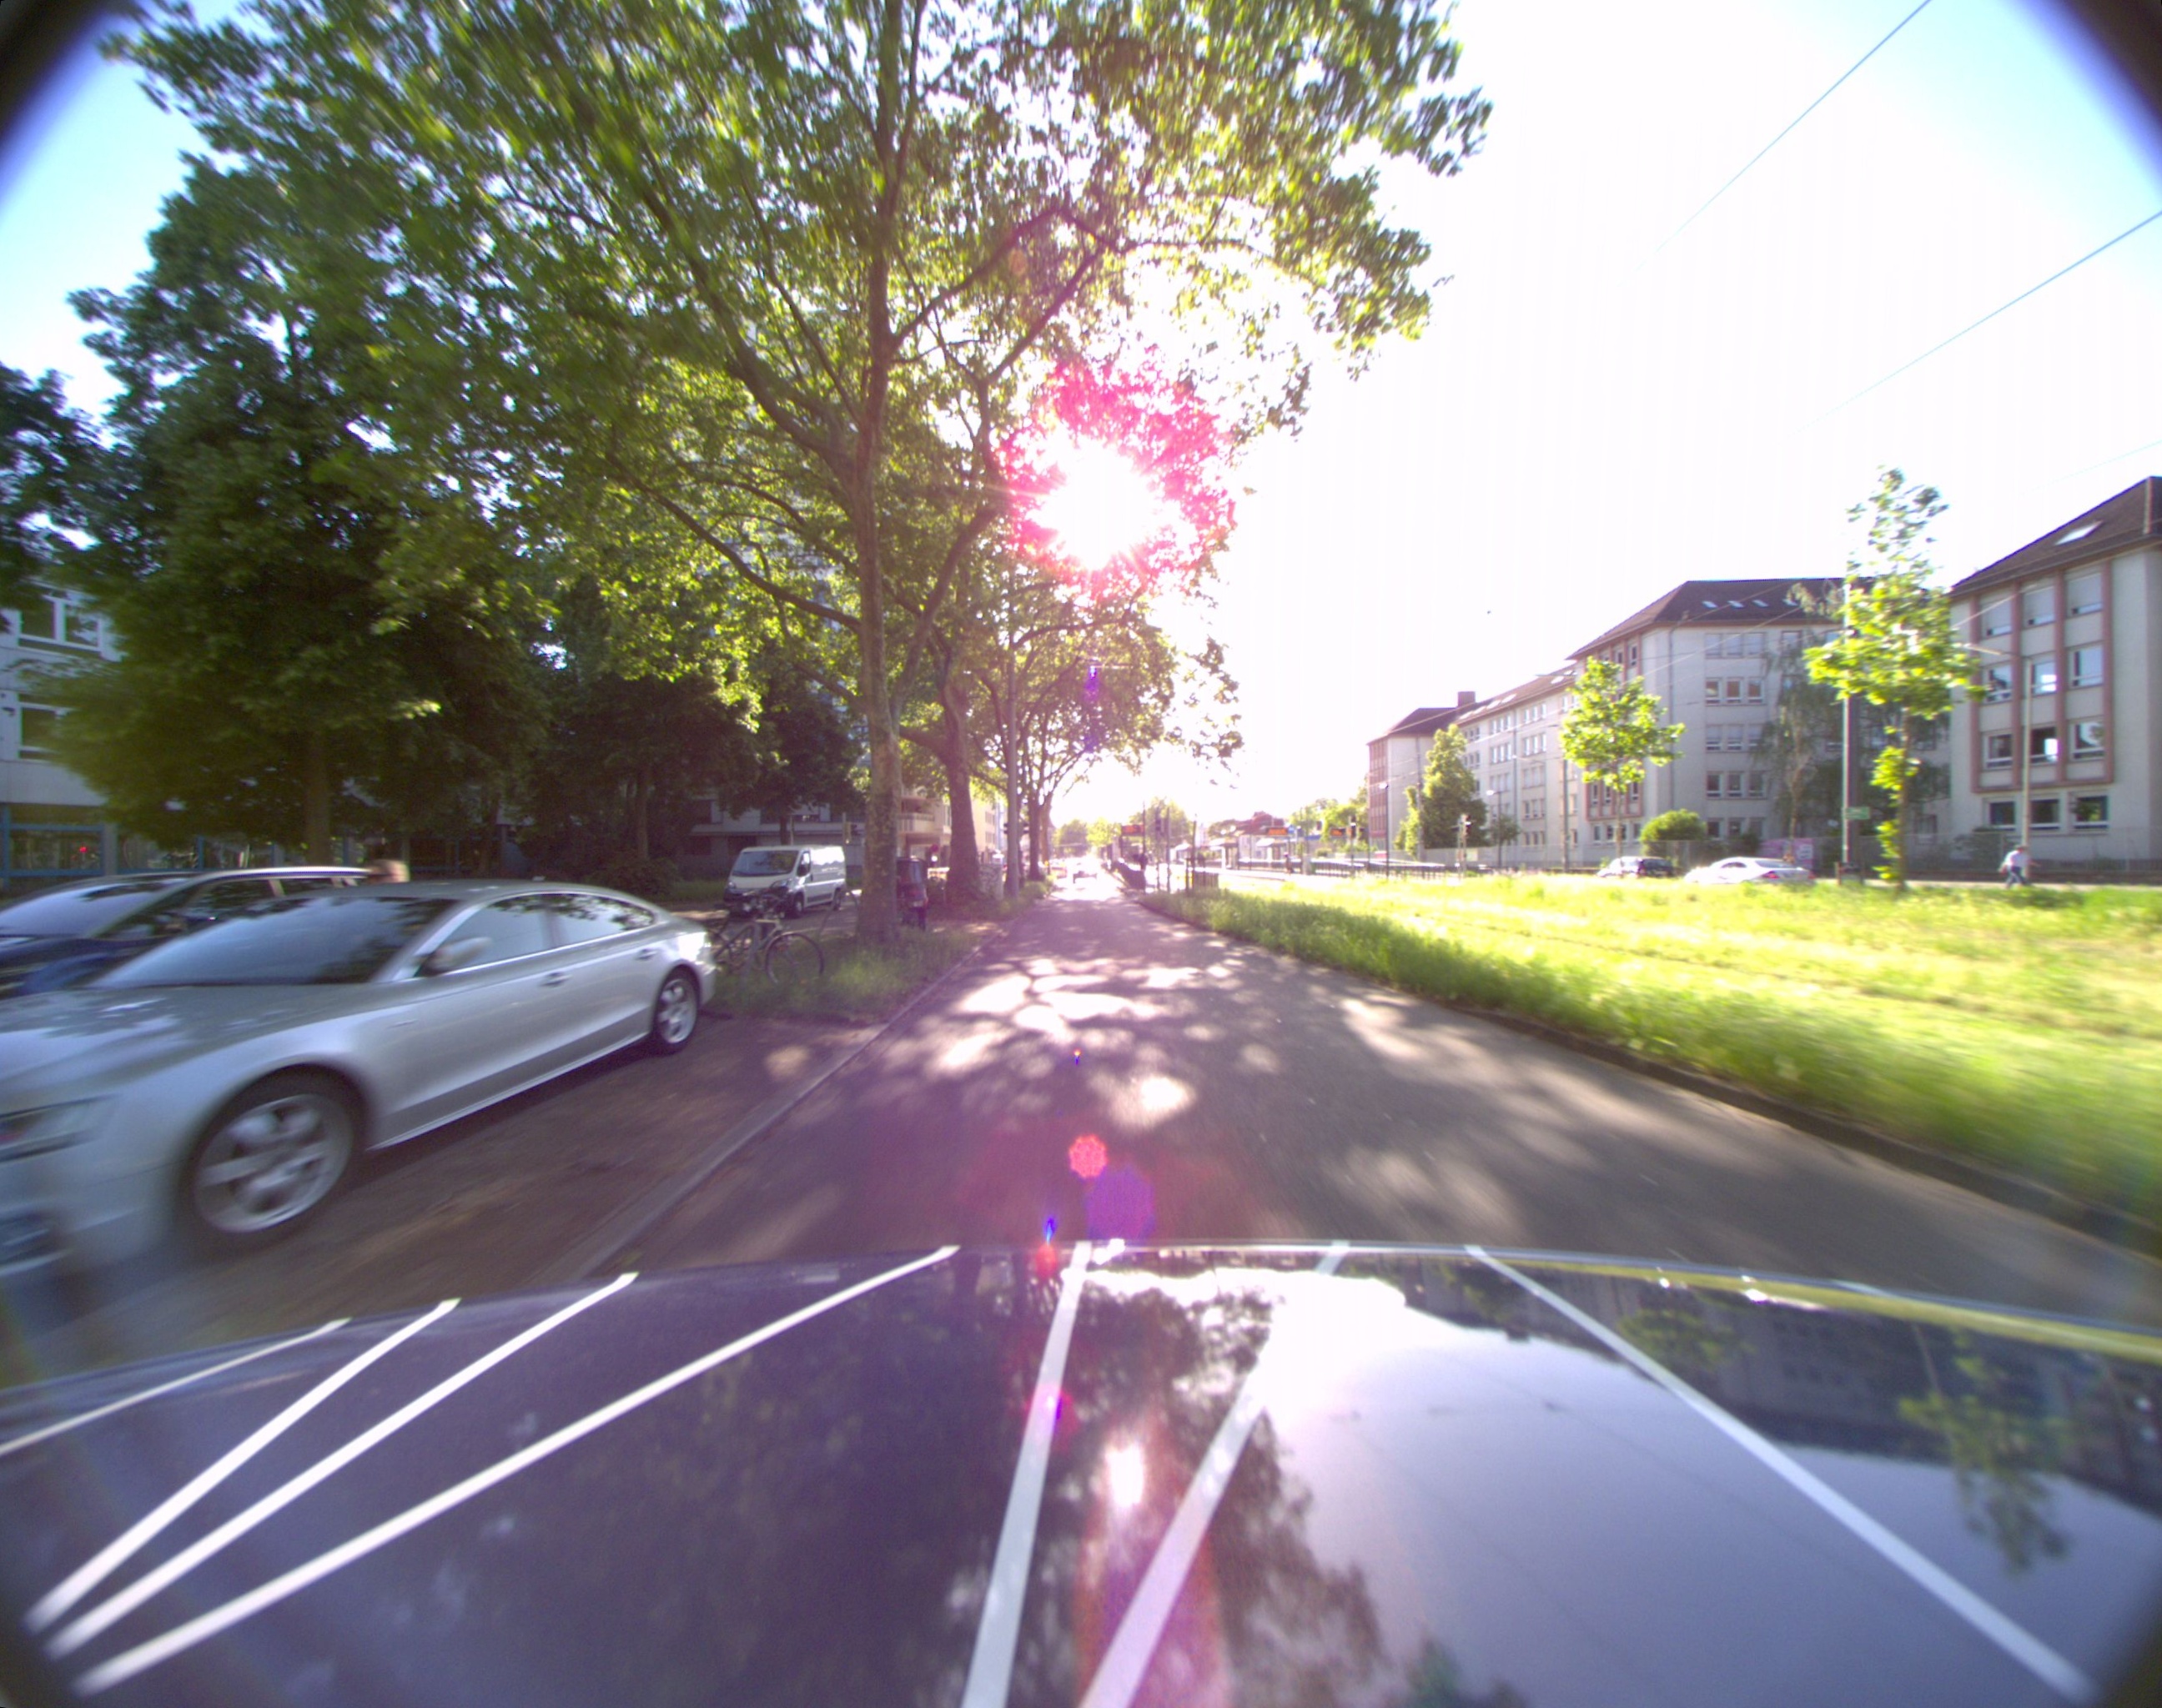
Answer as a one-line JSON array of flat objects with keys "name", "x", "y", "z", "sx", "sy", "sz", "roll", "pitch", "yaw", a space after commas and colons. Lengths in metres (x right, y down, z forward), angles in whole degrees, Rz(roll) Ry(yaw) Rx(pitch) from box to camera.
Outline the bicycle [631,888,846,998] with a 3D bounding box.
[{"name": "bicycle", "x": -3.795, "y": 0.975, "z": 8.524, "sx": 2.075, "sy": 1.118, "sz": 0.677, "roll": -1, "pitch": 1, "yaw": 0}]

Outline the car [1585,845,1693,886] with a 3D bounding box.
[{"name": "car", "x": 25.028, "y": 0.495, "z": 34.280, "sx": 1.998, "sy": 1.697, "sz": 4.150, "roll": -1, "pitch": 0, "yaw": 4}]

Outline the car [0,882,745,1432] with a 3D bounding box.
[{"name": "car", "x": -3.938, "y": 0.966, "z": 4.309, "sx": 1.758, "sy": 1.390, "sz": 5.026, "roll": -1, "pitch": 0, "yaw": 1}]

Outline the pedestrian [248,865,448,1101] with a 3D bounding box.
[{"name": "pedestrian", "x": -5.408, "y": 0.903, "z": 5.651, "sx": 0.689, "sy": 1.601, "sz": 0.713, "roll": -4, "pitch": 0, "yaw": 1}]

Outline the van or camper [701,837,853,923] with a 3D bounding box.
[{"name": "van or camper", "x": -9.138, "y": 0.703, "z": 23.563, "sx": 2.297, "sy": 2.273, "sz": 5.822, "roll": -1, "pitch": 0, "yaw": 0}]

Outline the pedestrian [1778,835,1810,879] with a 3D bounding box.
[{"name": "pedestrian", "x": 33.010, "y": 0.133, "z": 35.166, "sx": 0.664, "sy": 2.002, "sz": 0.860, "roll": -1, "pitch": 0, "yaw": 0}]

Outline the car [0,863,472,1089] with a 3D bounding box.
[{"name": "car", "x": -9.474, "y": 1.012, "z": 8.030, "sx": 1.824, "sy": 1.732, "sz": 5.167, "roll": -1, "pitch": 0, "yaw": 1}]

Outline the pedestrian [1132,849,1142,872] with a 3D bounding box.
[{"name": "pedestrian", "x": 4.538, "y": 0.515, "z": 61.370, "sx": 0.683, "sy": 1.773, "sz": 0.754, "roll": -2, "pitch": 0, "yaw": 2}]

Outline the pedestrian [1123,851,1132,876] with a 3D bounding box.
[{"name": "pedestrian", "x": 3.853, "y": 0.775, "z": 62.660, "sx": 0.669, "sy": 2.002, "sz": 0.716, "roll": -2, "pitch": 0, "yaw": 2}]

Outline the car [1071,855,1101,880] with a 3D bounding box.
[{"name": "car", "x": 0.440, "y": 0.943, "z": 55.333, "sx": 1.979, "sy": 1.660, "sz": 4.621, "roll": -2, "pitch": 0, "yaw": 2}]

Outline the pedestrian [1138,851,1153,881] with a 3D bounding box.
[{"name": "pedestrian", "x": 3.641, "y": 0.665, "z": 42.615, "sx": 0.714, "sy": 1.670, "sz": 0.772, "roll": -2, "pitch": 0, "yaw": -1}]

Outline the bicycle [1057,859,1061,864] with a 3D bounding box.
[{"name": "bicycle", "x": -5.551, "y": 1.812, "z": 194.521, "sx": 0.693, "sy": 1.208, "sz": 2.299, "roll": -1, "pitch": 0, "yaw": 5}]

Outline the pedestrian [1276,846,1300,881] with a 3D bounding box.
[{"name": "pedestrian", "x": 10.327, "y": 0.480, "z": 37.917, "sx": 0.955, "sy": 1.725, "sz": 0.730, "roll": -1, "pitch": 0, "yaw": 3}]

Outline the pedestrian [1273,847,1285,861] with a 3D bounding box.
[{"name": "pedestrian", "x": 20.699, "y": -0.012, "z": 79.337, "sx": 0.977, "sy": 1.368, "sz": 0.879, "roll": -1, "pitch": 0, "yaw": 0}]

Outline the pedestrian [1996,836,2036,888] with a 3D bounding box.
[{"name": "pedestrian", "x": 33.099, "y": 0.284, "z": 26.893, "sx": 0.694, "sy": 1.826, "sz": 0.573, "roll": -1, "pitch": 0, "yaw": 0}]

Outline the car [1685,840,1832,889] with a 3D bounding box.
[{"name": "car", "x": 24.532, "y": 0.358, "z": 27.765, "sx": 1.769, "sy": 1.613, "sz": 4.478, "roll": -1, "pitch": 0, "yaw": 7}]

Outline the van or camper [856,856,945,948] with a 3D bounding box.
[{"name": "van or camper", "x": -3.593, "y": 0.849, "z": 14.852, "sx": 1.506, "sy": 1.578, "sz": 2.836, "roll": -1, "pitch": 0, "yaw": -16}]

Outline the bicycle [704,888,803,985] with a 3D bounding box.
[{"name": "bicycle", "x": -4.342, "y": 1.049, "z": 10.231, "sx": 0.760, "sy": 1.072, "sz": 1.886, "roll": -1, "pitch": 0, "yaw": -9}]
